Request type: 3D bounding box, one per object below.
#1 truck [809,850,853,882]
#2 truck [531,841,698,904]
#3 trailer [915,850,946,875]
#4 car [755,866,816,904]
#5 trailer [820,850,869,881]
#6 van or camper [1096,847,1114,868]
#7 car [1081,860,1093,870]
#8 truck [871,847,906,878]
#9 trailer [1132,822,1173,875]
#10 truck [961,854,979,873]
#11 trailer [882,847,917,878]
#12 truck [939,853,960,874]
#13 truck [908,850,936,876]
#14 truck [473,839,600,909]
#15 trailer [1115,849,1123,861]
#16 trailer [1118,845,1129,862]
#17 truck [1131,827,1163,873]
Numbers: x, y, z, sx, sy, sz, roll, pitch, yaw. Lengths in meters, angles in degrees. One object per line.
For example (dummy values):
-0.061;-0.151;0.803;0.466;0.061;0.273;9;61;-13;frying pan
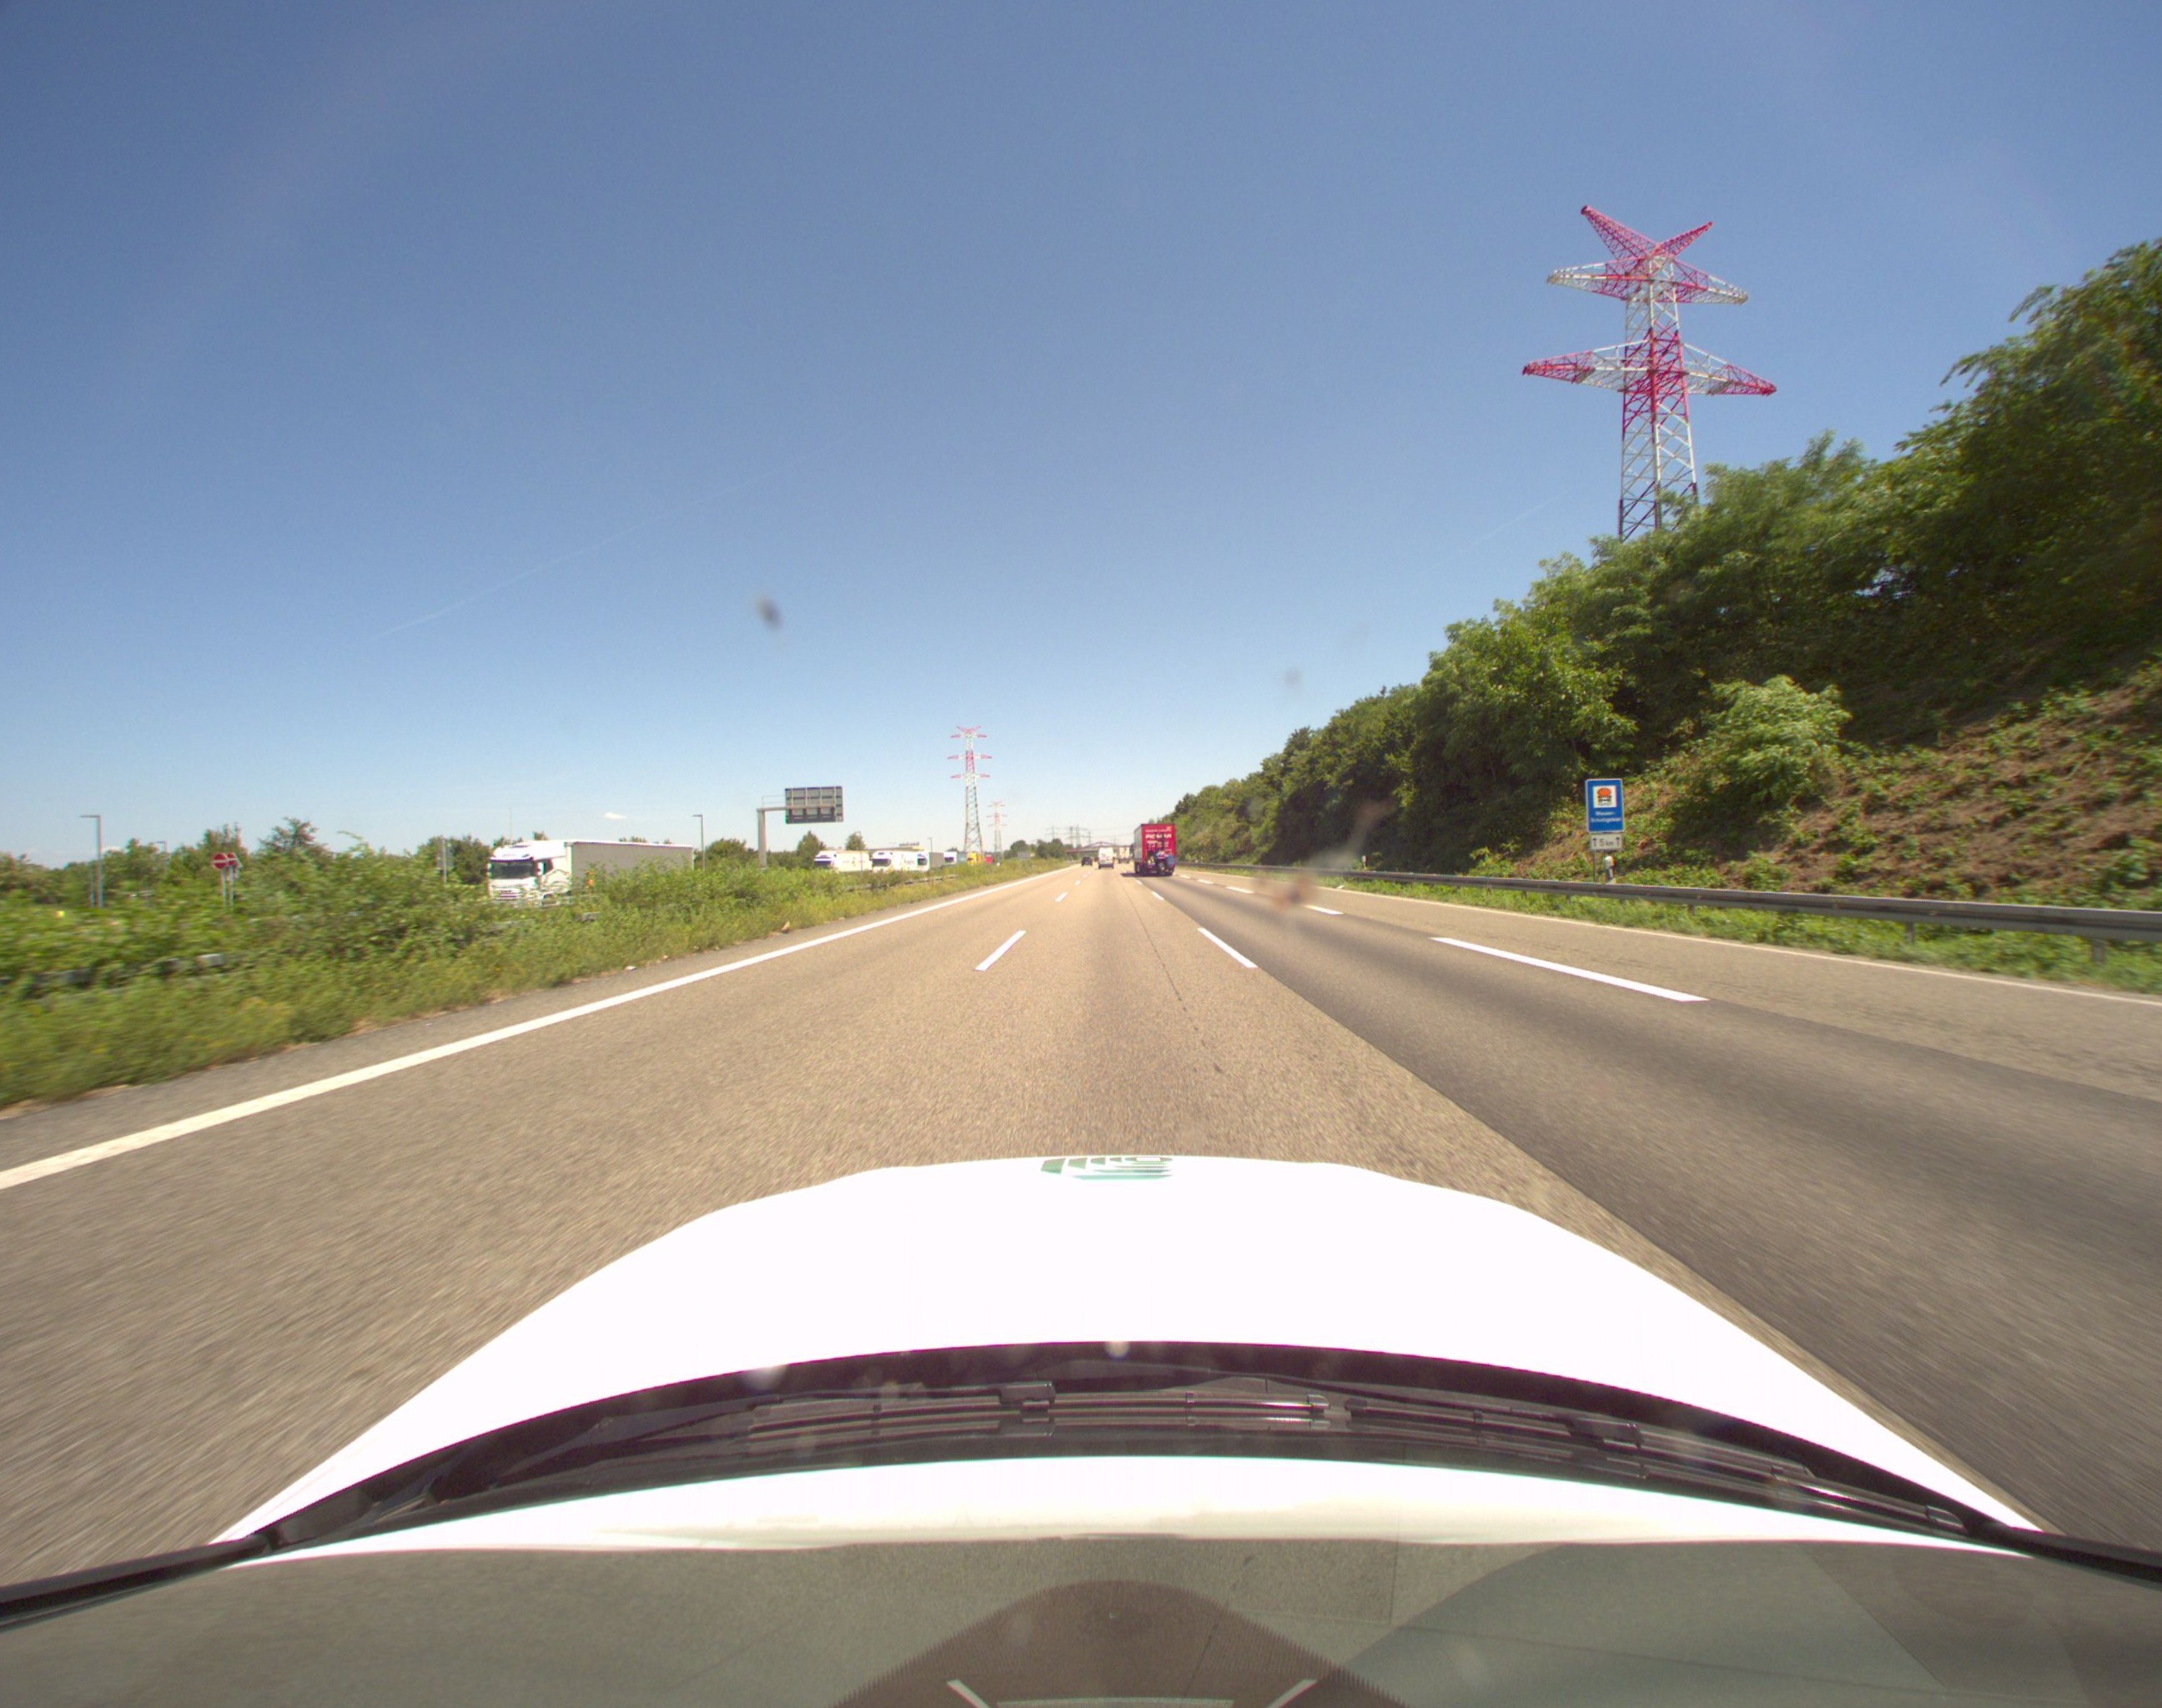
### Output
-33.243;1.540;108.617;3.083;4.152;8.319;0;0;2;truck
-30.069;1.105;53.707;2.789;3.643;13.611;0;0;2;truck
-26.103;1.399;141.911;3.102;4.158;11.015;0;0;1;trailer
-15.200;1.561;42.084;1.646;1.804;3.802;0;0;2;car
-33.071;1.585;114.638;3.082;4.156;12.014;0;0;2;trailer
3.204;0.447;107.953;2.221;2.782;5.425;0;-1;2;van or camper
1.179;2.061;149.272;1.973;1.817;3.816;0;0;4;car
-26.561;1.171;112.690;2.572;4.188;7.939;-1;-1;2;truck
5.706;-0.352;67.256;2.481;3.909;14.250;-1;-1;2;trailer
-24.592;2.066;181.174;2.823;4.200;7.920;0;-1;1;truck
-26.397;1.222;119.063;2.589;4.219;10.517;0;0;1;trailer
-25.733;1.839;159.428;2.839;4.073;7.090;0;-1;1;truck
-26.200;1.455;134.862;3.106;4.158;7.504;0;-1;1;truck
-30.320;1.060;45.701;2.789;3.643;6.149;0;-1;2;truck
12.286;0.256;262.709;2.626;3.897;7.073;0;-1;3;trailer
10.366;-0.048;197.494;2.626;4.060;12.375;0;0;3;trailer
5.928;-0.297;74.375;2.490;3.920;7.099;-1;-1;2;truck
